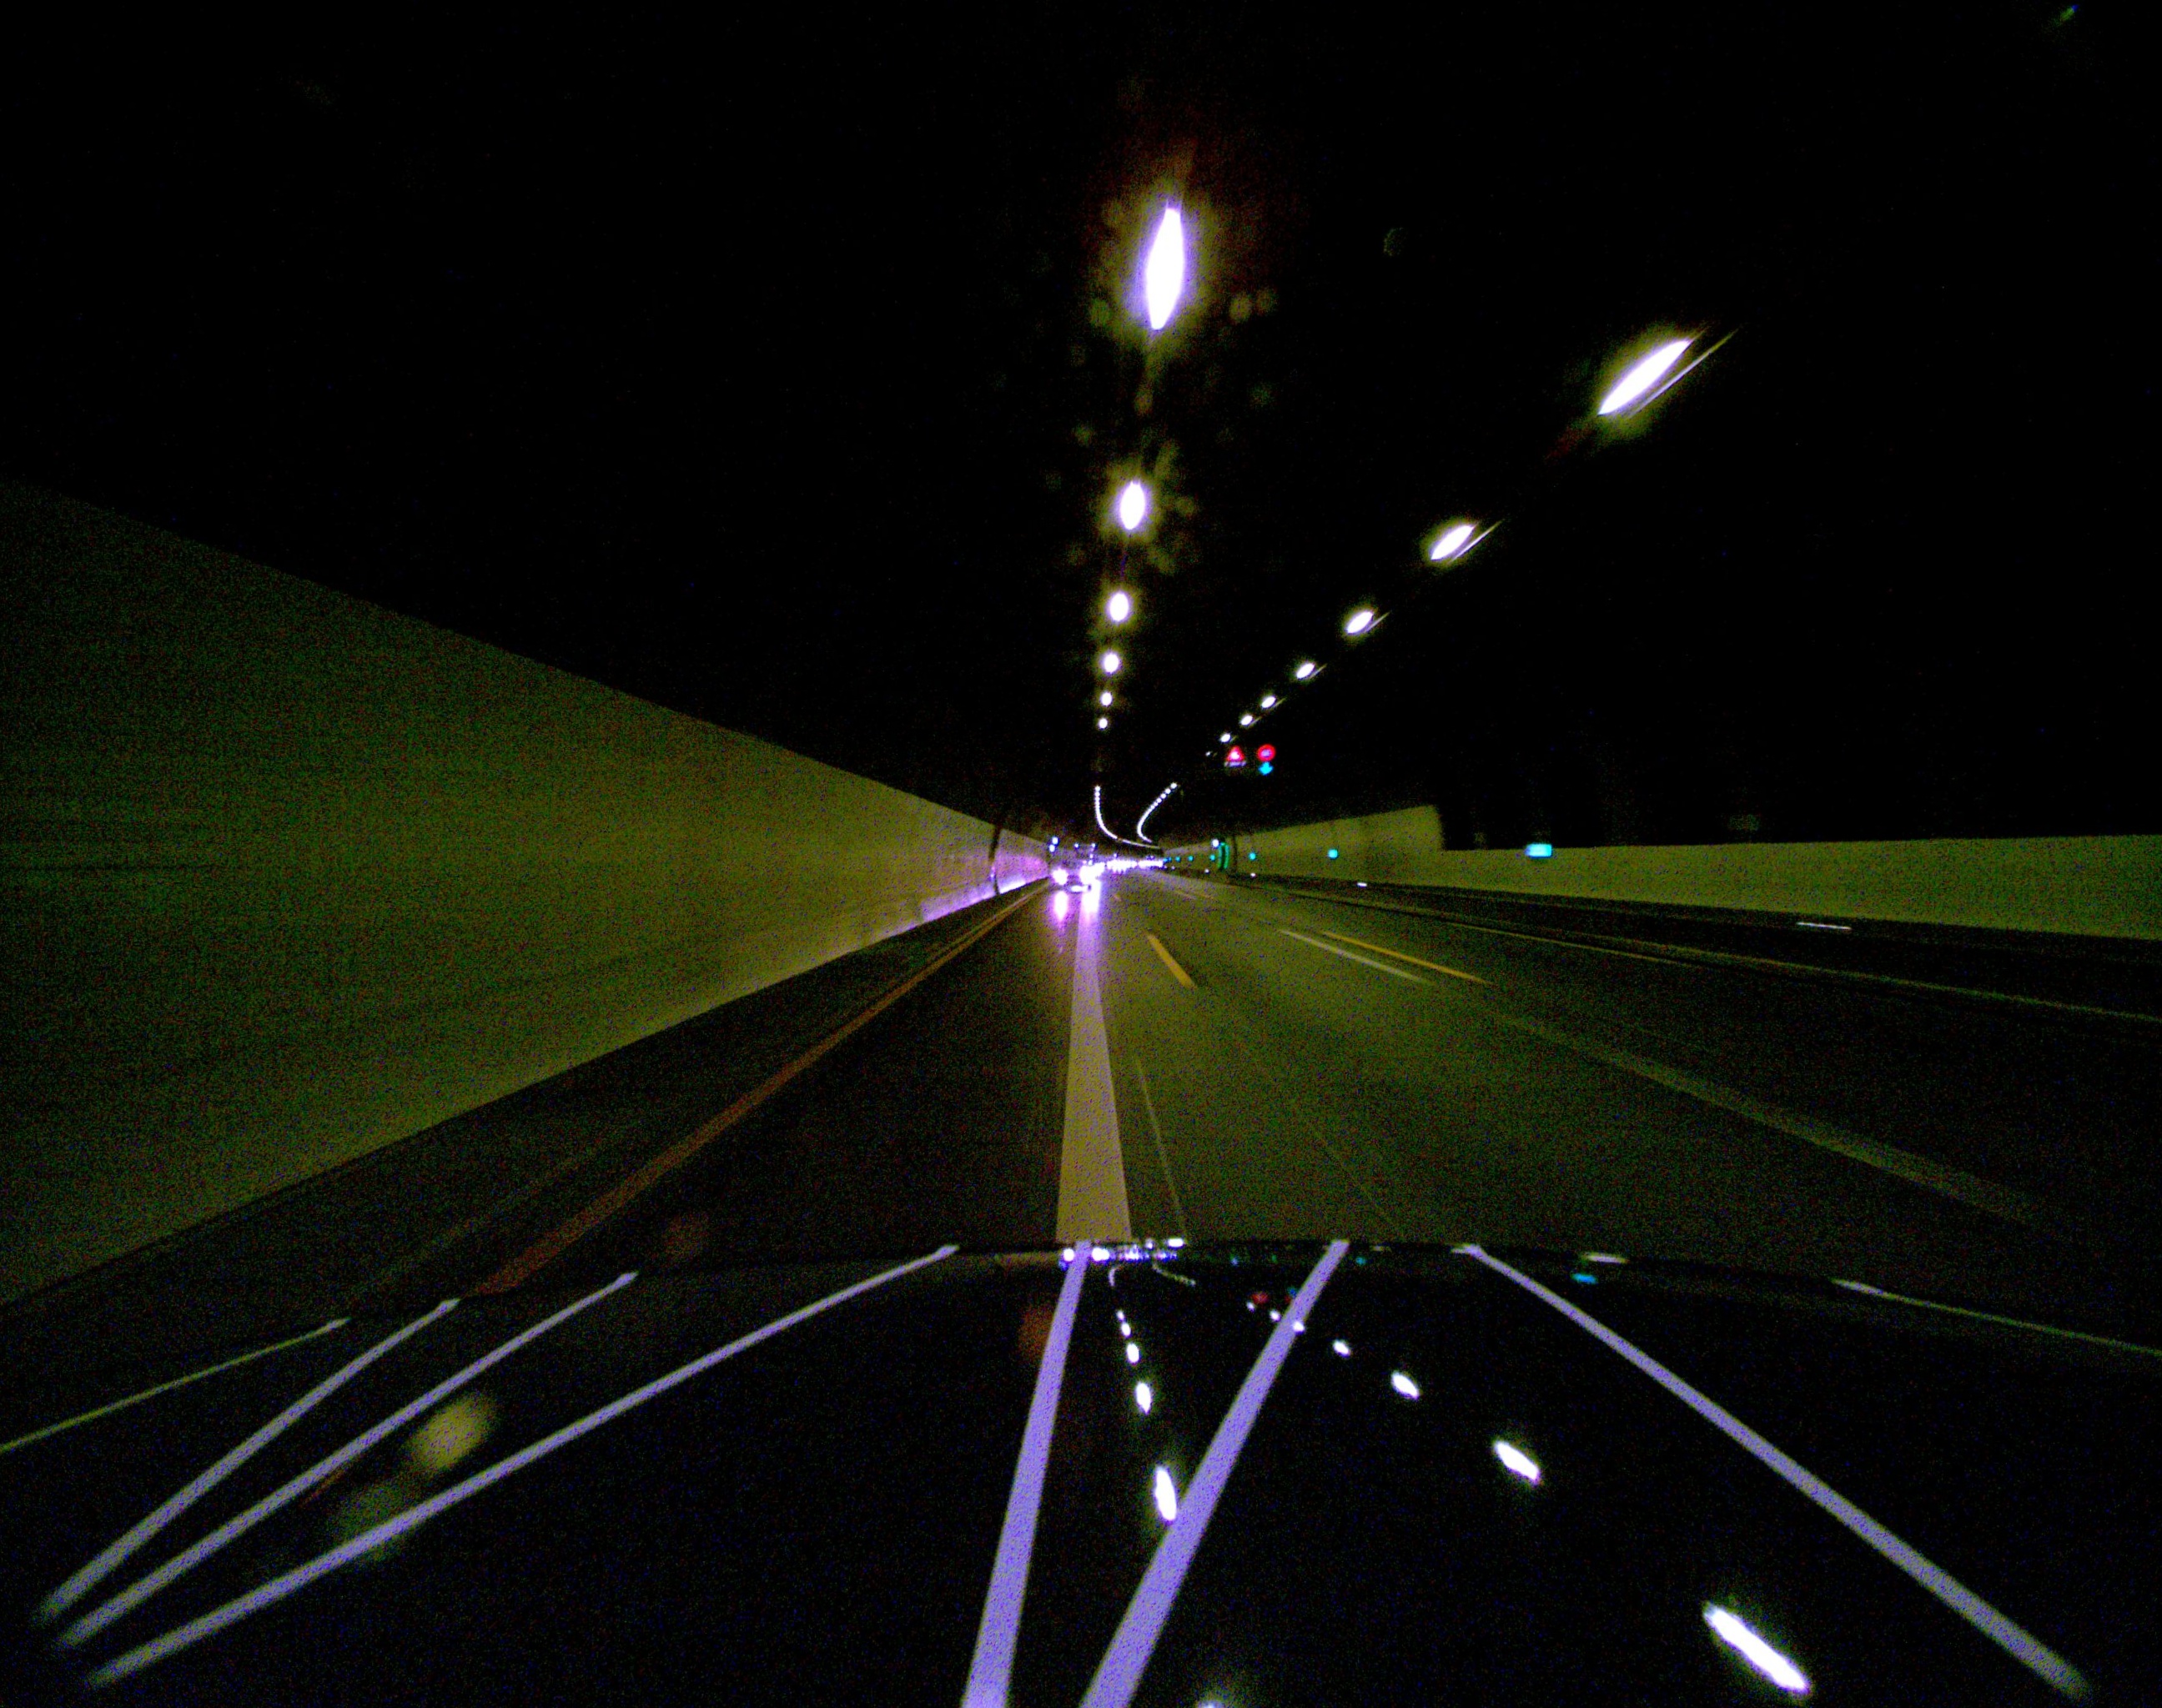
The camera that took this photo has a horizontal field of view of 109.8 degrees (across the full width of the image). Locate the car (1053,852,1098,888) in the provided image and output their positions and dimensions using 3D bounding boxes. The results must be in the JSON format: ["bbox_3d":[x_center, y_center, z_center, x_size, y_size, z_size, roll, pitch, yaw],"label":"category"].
[{"bbox_3d":[-0.228,0.822,39.964,2.171,1.709,4.482,-1,-1,1],"label":"car"}]

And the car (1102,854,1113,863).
[{"bbox_3d":[6.108,0.994,172.801,1.997,1.892,4.003,-1,0,9],"label":"car"}]

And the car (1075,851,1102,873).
[{"bbox_3d":[0.607,0.628,60.080,1.998,1.655,4.000,-2,0,1],"label":"car"}]

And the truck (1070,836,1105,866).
[{"bbox_3d":[0.838,-0.249,86.650,2.987,3.161,10.514,-1,0,6],"label":"truck"}]

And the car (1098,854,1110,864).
[{"bbox_3d":[4.322,0.999,145.091,1.998,1.892,4.002,-1,0,5],"label":"car"}]

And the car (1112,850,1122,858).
[{"bbox_3d":[8.986,0.057,190.598,1.997,1.917,4.388,-1,0,8],"label":"car"}]
